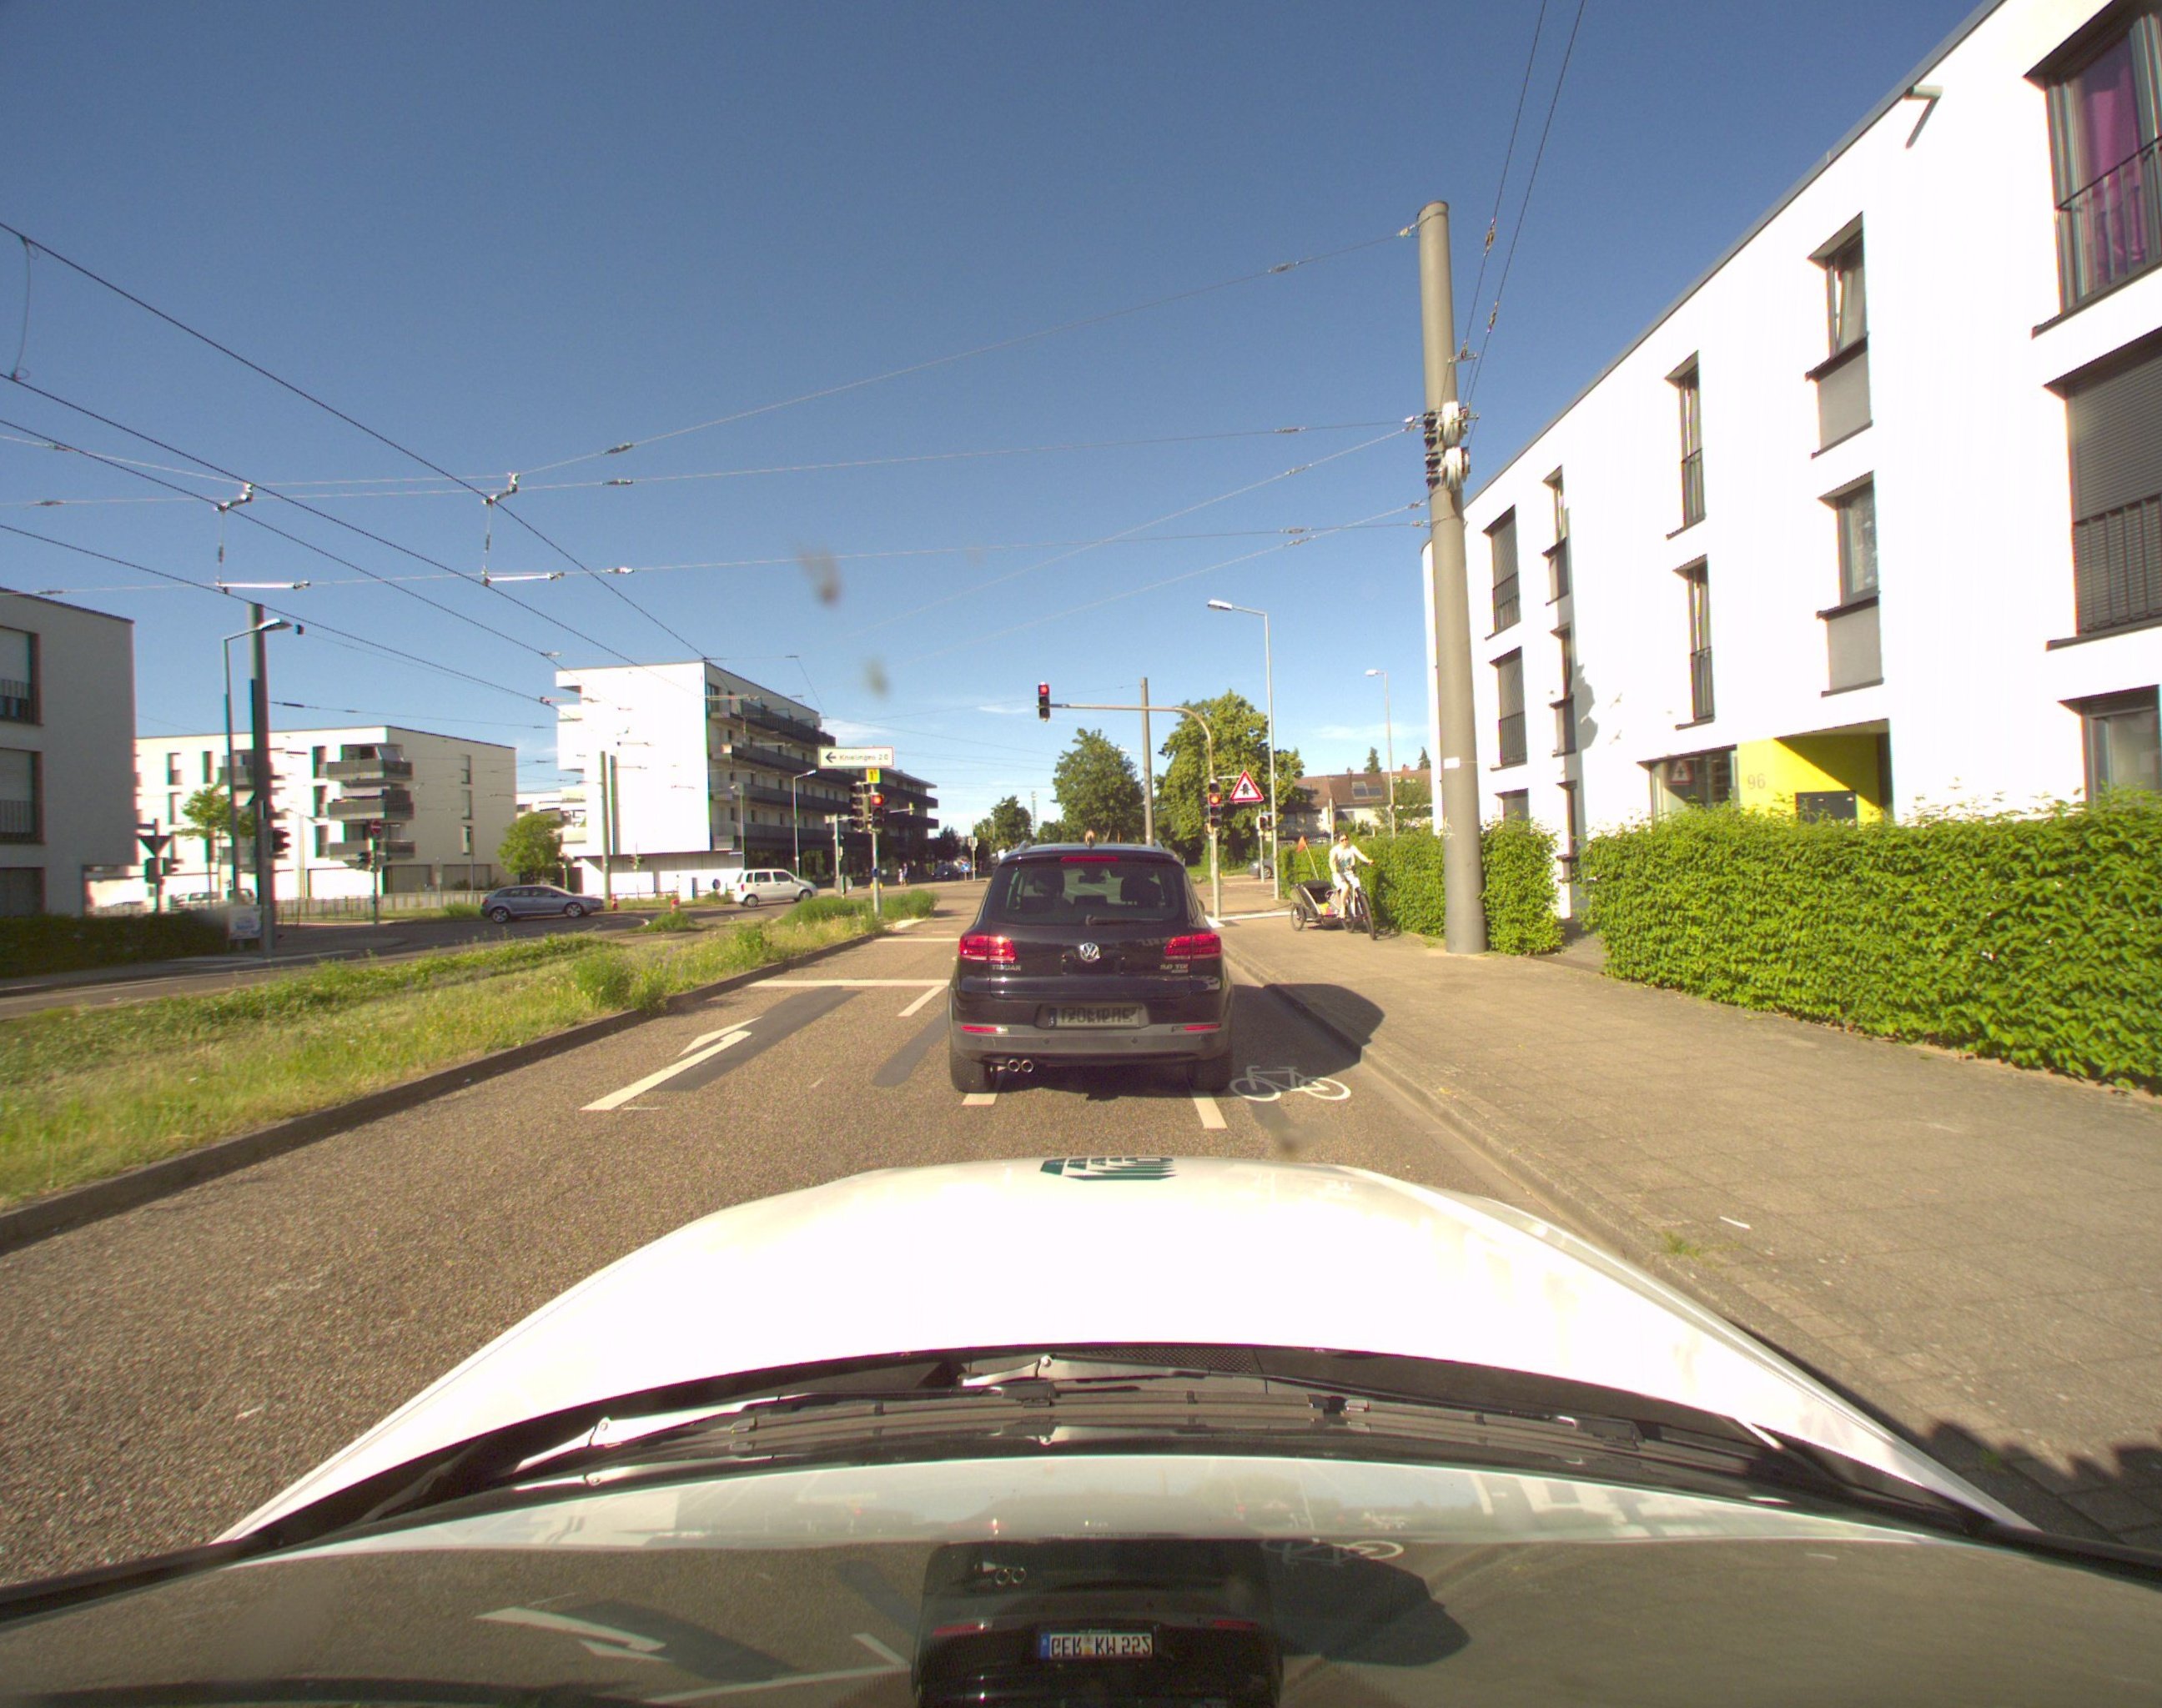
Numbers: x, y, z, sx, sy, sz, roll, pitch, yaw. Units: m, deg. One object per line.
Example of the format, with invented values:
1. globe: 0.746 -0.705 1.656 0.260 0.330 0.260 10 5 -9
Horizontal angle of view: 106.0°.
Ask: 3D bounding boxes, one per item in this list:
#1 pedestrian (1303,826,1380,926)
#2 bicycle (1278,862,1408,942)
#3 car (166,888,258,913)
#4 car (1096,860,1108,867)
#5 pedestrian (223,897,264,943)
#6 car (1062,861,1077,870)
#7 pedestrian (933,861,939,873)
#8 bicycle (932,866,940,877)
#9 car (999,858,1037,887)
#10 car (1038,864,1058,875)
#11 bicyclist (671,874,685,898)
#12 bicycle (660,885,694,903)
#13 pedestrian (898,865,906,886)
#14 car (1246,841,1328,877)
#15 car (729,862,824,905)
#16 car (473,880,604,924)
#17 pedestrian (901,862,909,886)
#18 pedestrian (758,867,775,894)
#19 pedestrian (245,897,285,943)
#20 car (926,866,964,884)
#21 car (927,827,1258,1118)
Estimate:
1. pedestrian: 4.377 0.359 13.763 0.909 1.594 0.853 -3 -1 -6
2. bicycle: 4.380 0.749 13.989 0.927 1.173 3.119 -3 0 -6
3. car: -58.840 3.161 55.191 4.305 1.574 2.002 0 -1 4
4. car: 4.590 2.033 179.637 1.981 1.574 4.350 -1 -1 9
5. pedestrian: -30.377 2.392 29.563 0.773 1.605 0.738 0 -1 -20
6. car: -1.975 2.034 141.397 1.981 1.574 4.350 -1 -1 9
7. pedestrian: -18.834 1.672 105.734 0.640 1.509 0.596 0 -1 2
8. bicycle: -18.836 2.297 105.710 0.628 1.332 1.913 0 -1 2
9. car: -3.865 1.116 50.480 1.986 1.684 4.001 0 -1 1
10. car: -4.669 2.173 117.091 1.981 1.574 4.350 -1 -1 9
11. bicyclist: -26.958 2.129 54.455 0.638 1.614 0.783 0 -1 -7
12. bicycle: -26.974 2.661 54.457 1.853 1.124 0.821 0 -1 -7
13. pedestrian: -13.101 1.585 59.625 0.440 1.503 0.517 0 -1 -4
14. car: 11.012 0.268 43.767 3.969 1.836 2.002 0 -1 4
15. car: -13.862 1.310 37.139 3.701 1.720 1.850 -2 0 -33
16. car: -21.996 1.915 33.241 4.114 1.485 1.855 -2 -1 -23
17. pedestrian: -13.009 1.471 60.199 0.542 1.744 0.517 0 -1 -4
18. pedestrian: -19.664 1.650 50.941 0.812 1.692 0.619 -3 -1 -6
19. pedestrian: -29.632 2.386 29.580 0.773 1.605 0.738 0 -1 -20
20. car: -12.188 1.873 73.294 1.980 1.574 4.353 -1 -1 11
21. car: 0.127 0.689 6.613 1.862 1.637 4.001 0 -1 2
